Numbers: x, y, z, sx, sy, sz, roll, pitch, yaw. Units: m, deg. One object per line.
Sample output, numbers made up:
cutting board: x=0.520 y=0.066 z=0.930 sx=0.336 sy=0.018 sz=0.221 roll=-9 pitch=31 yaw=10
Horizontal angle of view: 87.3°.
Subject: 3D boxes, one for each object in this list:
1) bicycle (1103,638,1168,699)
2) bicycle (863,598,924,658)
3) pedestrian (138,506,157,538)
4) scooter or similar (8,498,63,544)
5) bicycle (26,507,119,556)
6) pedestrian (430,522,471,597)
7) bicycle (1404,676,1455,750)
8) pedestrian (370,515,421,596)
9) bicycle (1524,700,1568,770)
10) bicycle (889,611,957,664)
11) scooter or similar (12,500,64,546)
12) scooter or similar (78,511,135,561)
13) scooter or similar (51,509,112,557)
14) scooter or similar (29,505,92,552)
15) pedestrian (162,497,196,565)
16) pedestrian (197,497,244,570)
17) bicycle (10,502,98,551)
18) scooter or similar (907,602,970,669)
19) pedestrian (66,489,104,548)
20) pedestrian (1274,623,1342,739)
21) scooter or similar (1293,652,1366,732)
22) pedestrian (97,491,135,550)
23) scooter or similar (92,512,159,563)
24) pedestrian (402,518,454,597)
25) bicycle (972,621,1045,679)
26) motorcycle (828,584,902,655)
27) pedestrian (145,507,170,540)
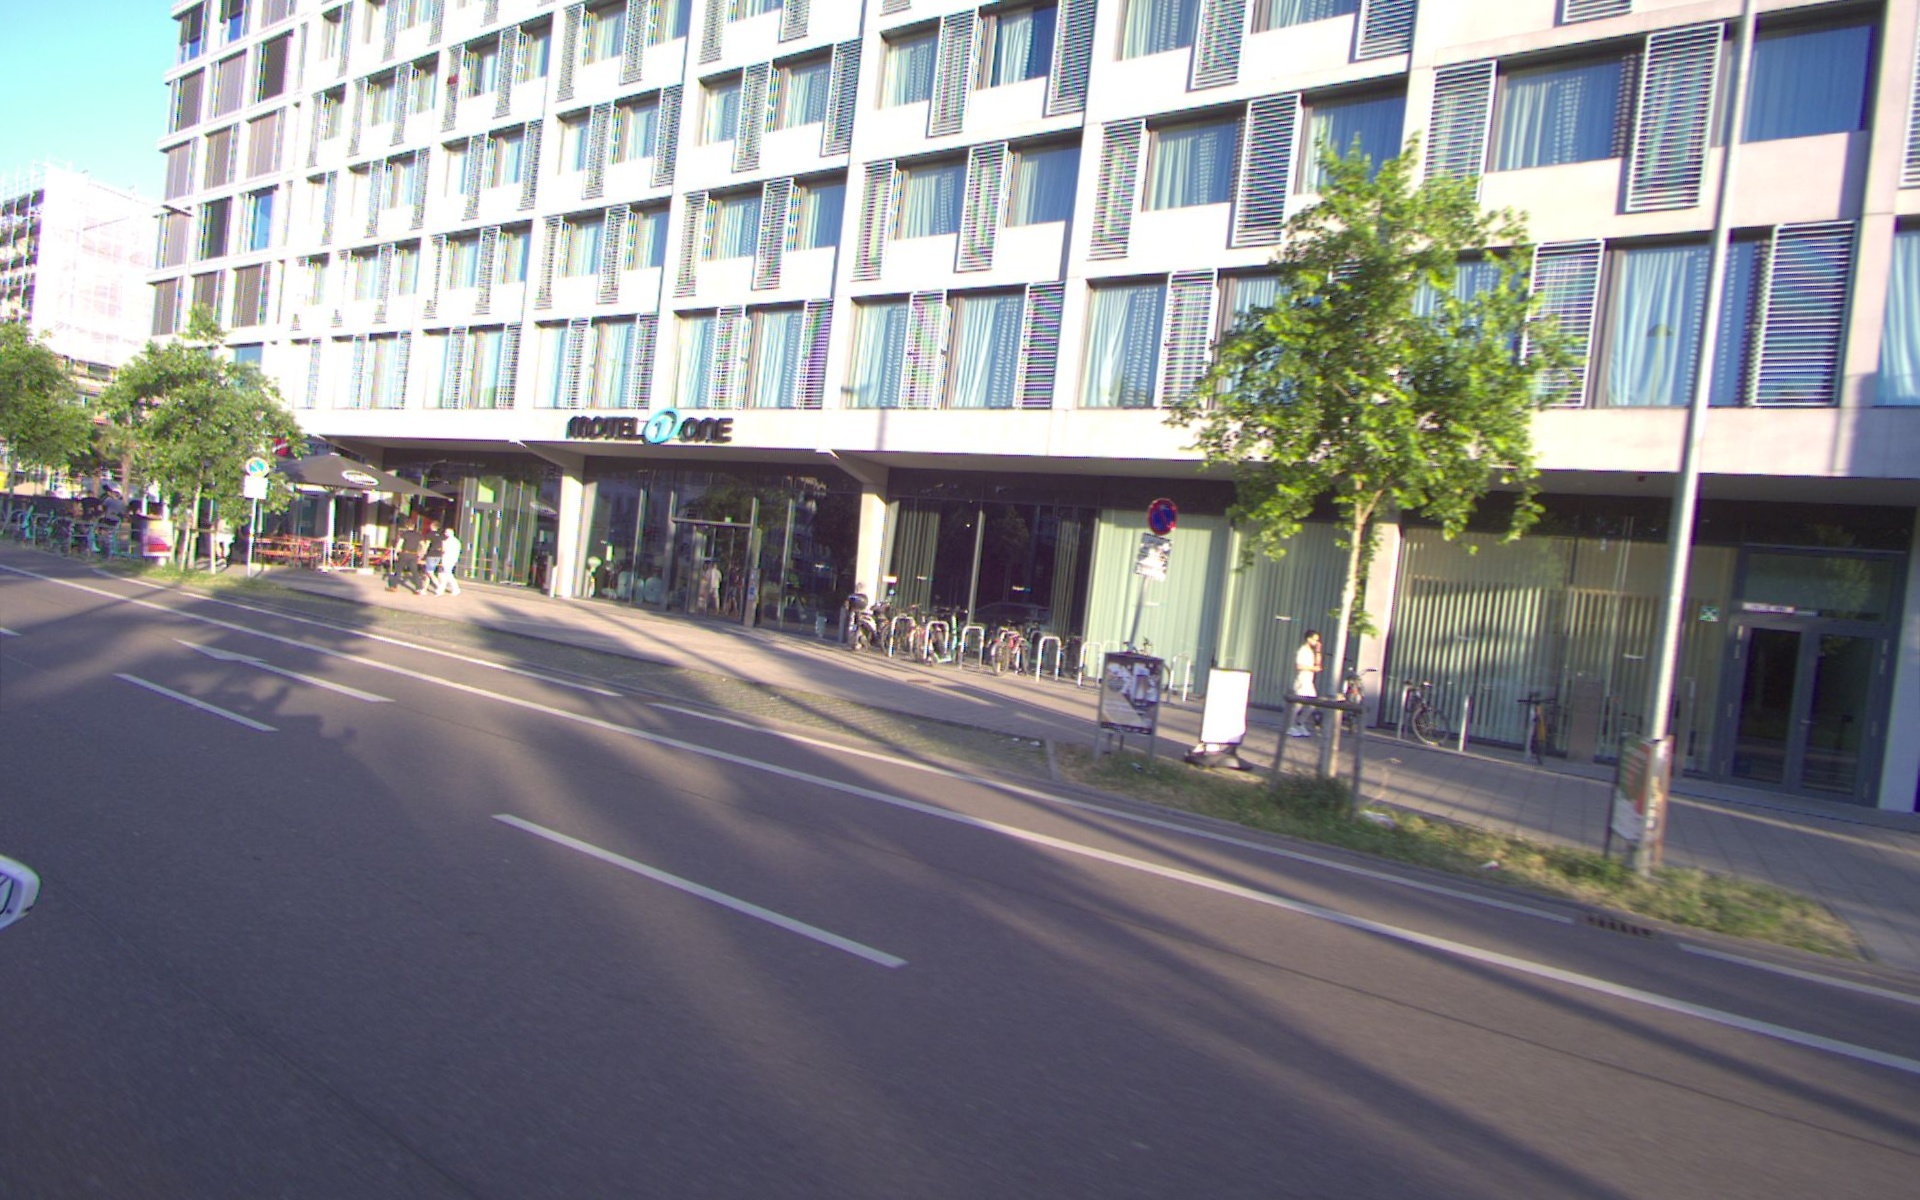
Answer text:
bicycle: x=3.232 y=1.234 z=18.430 sx=0.541 sy=0.999 sz=1.701 roll=8 pitch=2 yaw=29
bicycle: x=-1.404 y=0.586 z=21.561 sx=0.601 sy=1.170 sz=1.610 roll=7 pitch=2 yaw=20
pedestrian: x=-36.115 y=-3.466 z=44.735 sx=0.609 sy=1.337 sz=0.614 roll=2 pitch=4 yaw=-40
scooter or similar: x=-28.228 y=-2.403 z=30.726 sx=0.588 sy=1.240 sz=1.052 roll=7 pitch=3 yaw=28
bicycle: x=-24.974 y=-1.911 z=28.340 sx=0.598 sy=1.198 sz=1.847 roll=7 pitch=3 yaw=31
pedestrian: x=-13.003 y=-1.022 z=25.686 sx=0.766 sy=1.837 sz=0.617 roll=7 pitch=4 yaw=41
bicycle: x=7.606 y=1.789 z=16.277 sx=0.609 sy=0.970 sz=2.019 roll=7 pitch=1 yaw=26
pedestrian: x=-13.767 y=-1.094 z=24.523 sx=0.927 sy=1.874 sz=0.741 roll=7 pitch=4 yaw=41
bicycle: x=8.807 y=1.994 z=15.096 sx=0.449 sy=0.902 sz=1.423 roll=7 pitch=1 yaw=31
bicycle: x=-0.749 y=0.778 z=20.908 sx=0.541 sy=0.999 sz=1.701 roll=8 pitch=2 yaw=29
scooter or similar: x=-27.392 y=-2.272 z=29.893 sx=0.542 sy=1.240 sz=1.058 roll=8 pitch=3 yaw=41
scooter or similar: x=-23.274 y=-1.742 z=27.445 sx=1.123 sy=1.229 sz=0.525 roll=3 pitch=2 yaw=-43
scooter or similar: x=-24.089 y=-1.831 z=27.595 sx=0.502 sy=1.207 sz=1.155 roll=6 pitch=2 yaw=34
scooter or similar: x=-25.965 y=-2.054 z=29.052 sx=0.472 sy=1.218 sz=1.210 roll=7 pitch=3 yaw=27
pedestrian: x=-21.451 y=-1.897 z=27.625 sx=0.574 sy=1.810 sz=0.819 roll=3 pitch=3 yaw=-44
pedestrian: x=-20.543 y=-1.851 z=27.942 sx=0.854 sy=1.913 sz=0.822 roll=6 pitch=2 yaw=40
bicycle: x=-26.407 y=-2.128 z=29.344 sx=0.558 sy=1.209 sz=1.795 roll=7 pitch=3 yaw=27
scooter or similar: x=-0.426 y=0.708 z=20.218 sx=0.598 sy=1.250 sz=1.269 roll=8 pitch=3 yaw=28
pedestrian: x=-27.327 y=-2.550 z=31.428 sx=0.678 sy=1.725 sz=0.653 roll=8 pitch=3 yaw=32
pedestrian: x=5.236 y=1.206 z=15.147 sx=0.633 sy=1.641 sz=0.575 roll=8 pitch=4 yaw=38
scooter or similar: x=6.327 y=1.525 z=17.149 sx=0.610 sy=1.198 sz=2.373 roll=7 pitch=2 yaw=31
pedestrian: x=-26.996 y=-2.544 z=32.186 sx=0.748 sy=1.758 sz=0.685 roll=8 pitch=4 yaw=32
scooter or similar: x=-22.040 y=-1.644 z=26.597 sx=1.283 sy=1.235 sz=0.530 roll=4 pitch=3 yaw=-34
pedestrian: x=-13.203 y=-1.051 z=24.949 sx=0.927 sy=1.849 sz=0.754 roll=8 pitch=3 yaw=41
bicycle: x=0.980 y=0.960 z=19.794 sx=0.556 sy=1.023 sz=1.886 roll=7 pitch=2 yaw=30
motorcycle: x=-2.036 y=0.415 z=21.923 sx=0.659 sy=1.405 sz=2.117 roll=7 pitch=2 yaw=18
pedestrian: x=-35.241 y=-3.355 z=44.180 sx=0.743 sy=1.337 sz=0.705 roll=2 pitch=5 yaw=-45
